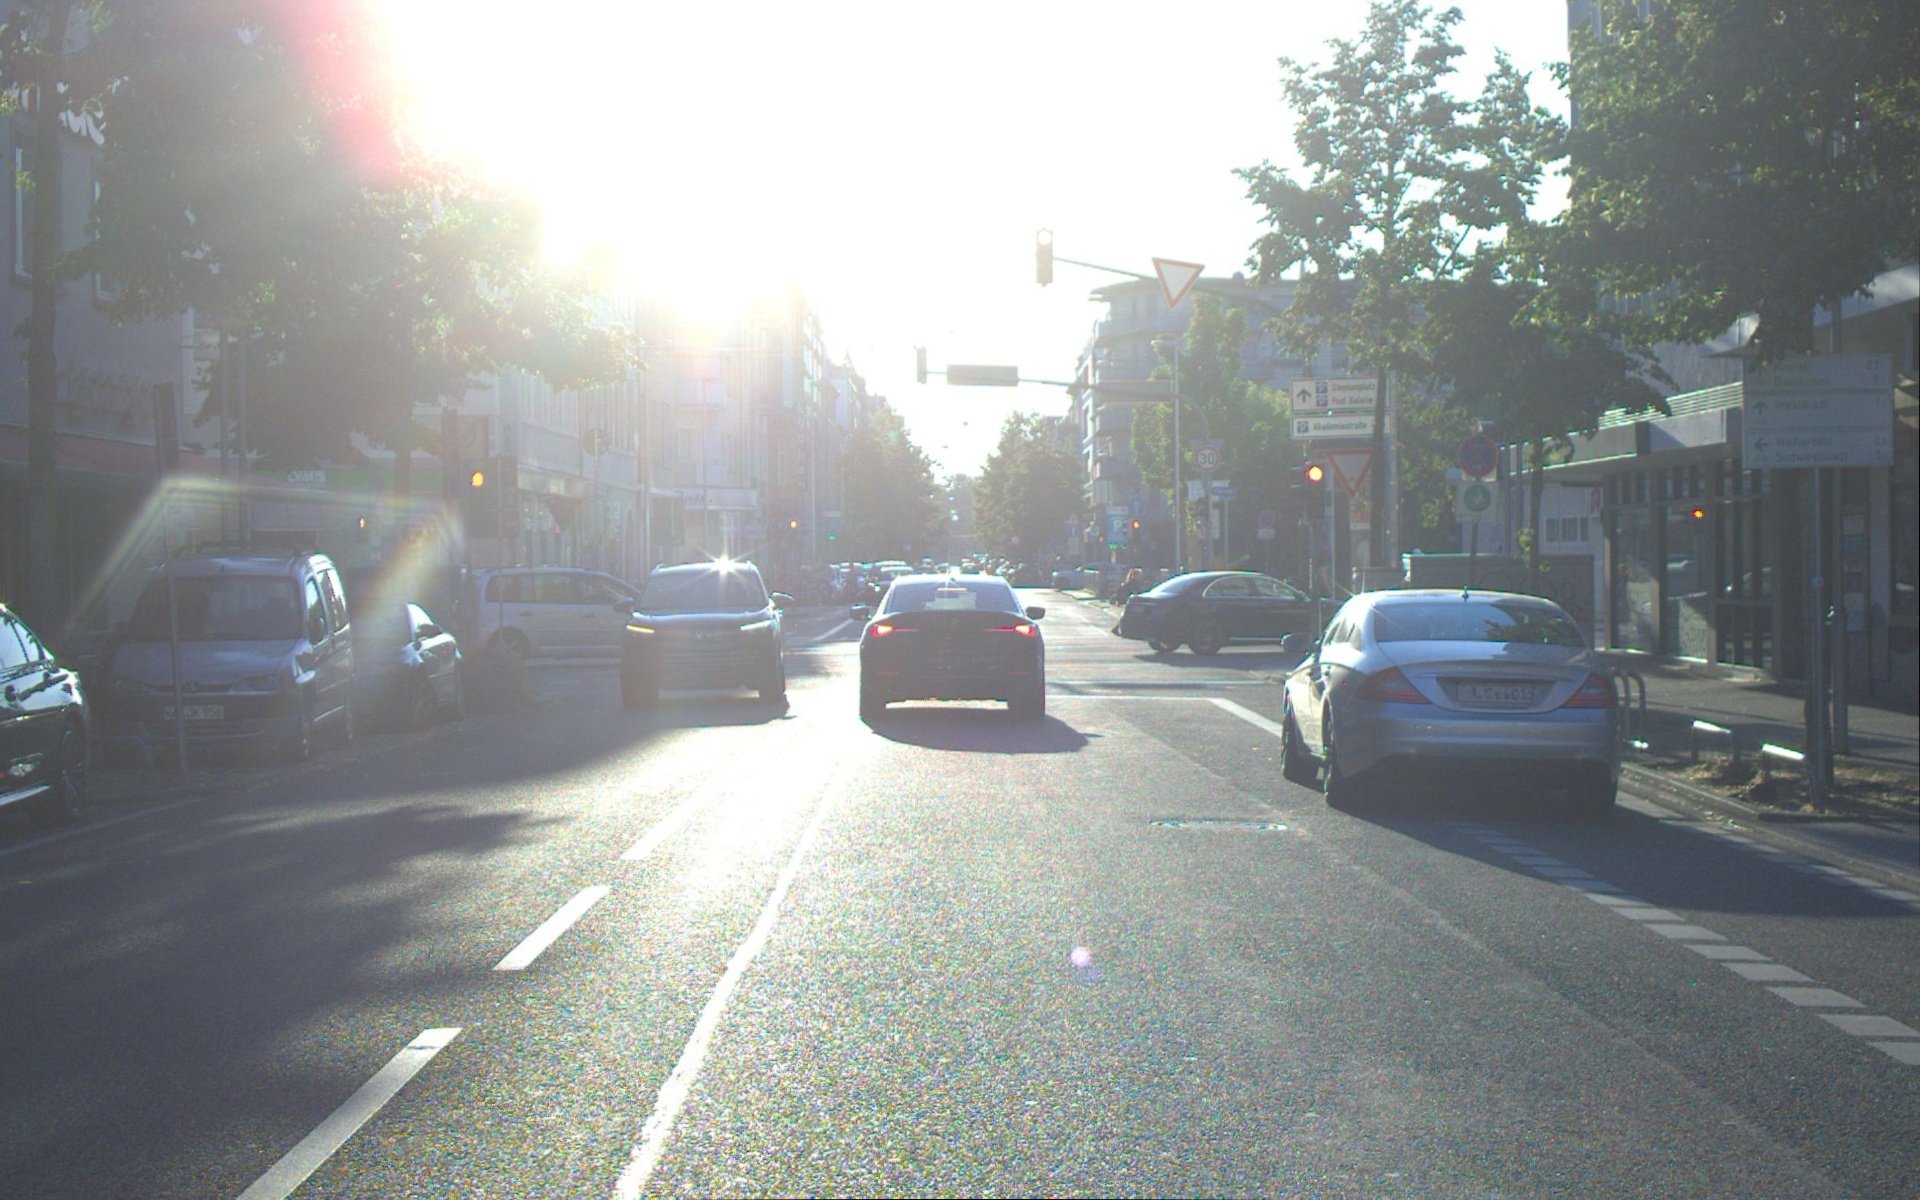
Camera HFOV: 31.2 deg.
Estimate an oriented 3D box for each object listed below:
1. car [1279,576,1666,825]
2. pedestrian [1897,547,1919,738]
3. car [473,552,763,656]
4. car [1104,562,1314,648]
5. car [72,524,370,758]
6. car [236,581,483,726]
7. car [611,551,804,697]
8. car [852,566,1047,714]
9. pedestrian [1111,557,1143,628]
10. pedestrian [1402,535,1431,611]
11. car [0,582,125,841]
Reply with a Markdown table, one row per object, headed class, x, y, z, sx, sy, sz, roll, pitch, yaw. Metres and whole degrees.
| class | x | y | z | sx | sy | sz | roll | pitch | yaw |
| --- | --- | --- | --- | --- | --- | --- | --- | --- | --- |
| car | 3.299 | 0.591 | 22.991 | 1.922 | 1.410 | 4.548 | 2 | 1 | 1 |
| pedestrian | 8.141 | 0.338 | 28.131 | 0.688 | 1.553 | 0.863 | 0 | 1 | -1 |
| car | -5.580 | 0.038 | 56.104 | 4.310 | 1.596 | 1.929 | -1 | 2 | -24 |
| car | 4.374 | 0.068 | 60.429 | 3.343 | 1.422 | 1.571 | -1 | 2 | -21 |
| car | -6.214 | 0.304 | 29.314 | 1.833 | 1.848 | 4.124 | 0 | 1 | -3 |
| car | -6.079 | 0.505 | 35.226 | 1.833 | 1.323 | 4.124 | -1 | 1 | -1 |
| car | -2.963 | 0.241 | 41.174 | 1.922 | 1.596 | 4.325 | 0 | 2 | 1 |
| car | -0.074 | 0.368 | 35.542 | 1.883 | 1.410 | 4.325 | 0 | 1 | 1 |
| pedestrian | 3.868 | -0.176 | 79.648 | 0.573 | 1.639 | 0.528 | -1 | 2 | -21 |
| pedestrian | 10.406 | -0.616 | 78.297 | 0.494 | 1.709 | 0.462 | -1 | 2 | -19 |
| car | -6.303 | 0.666 | 19.712 | 1.827 | 1.434 | 4.553 | -3 | 1 | 1 |
